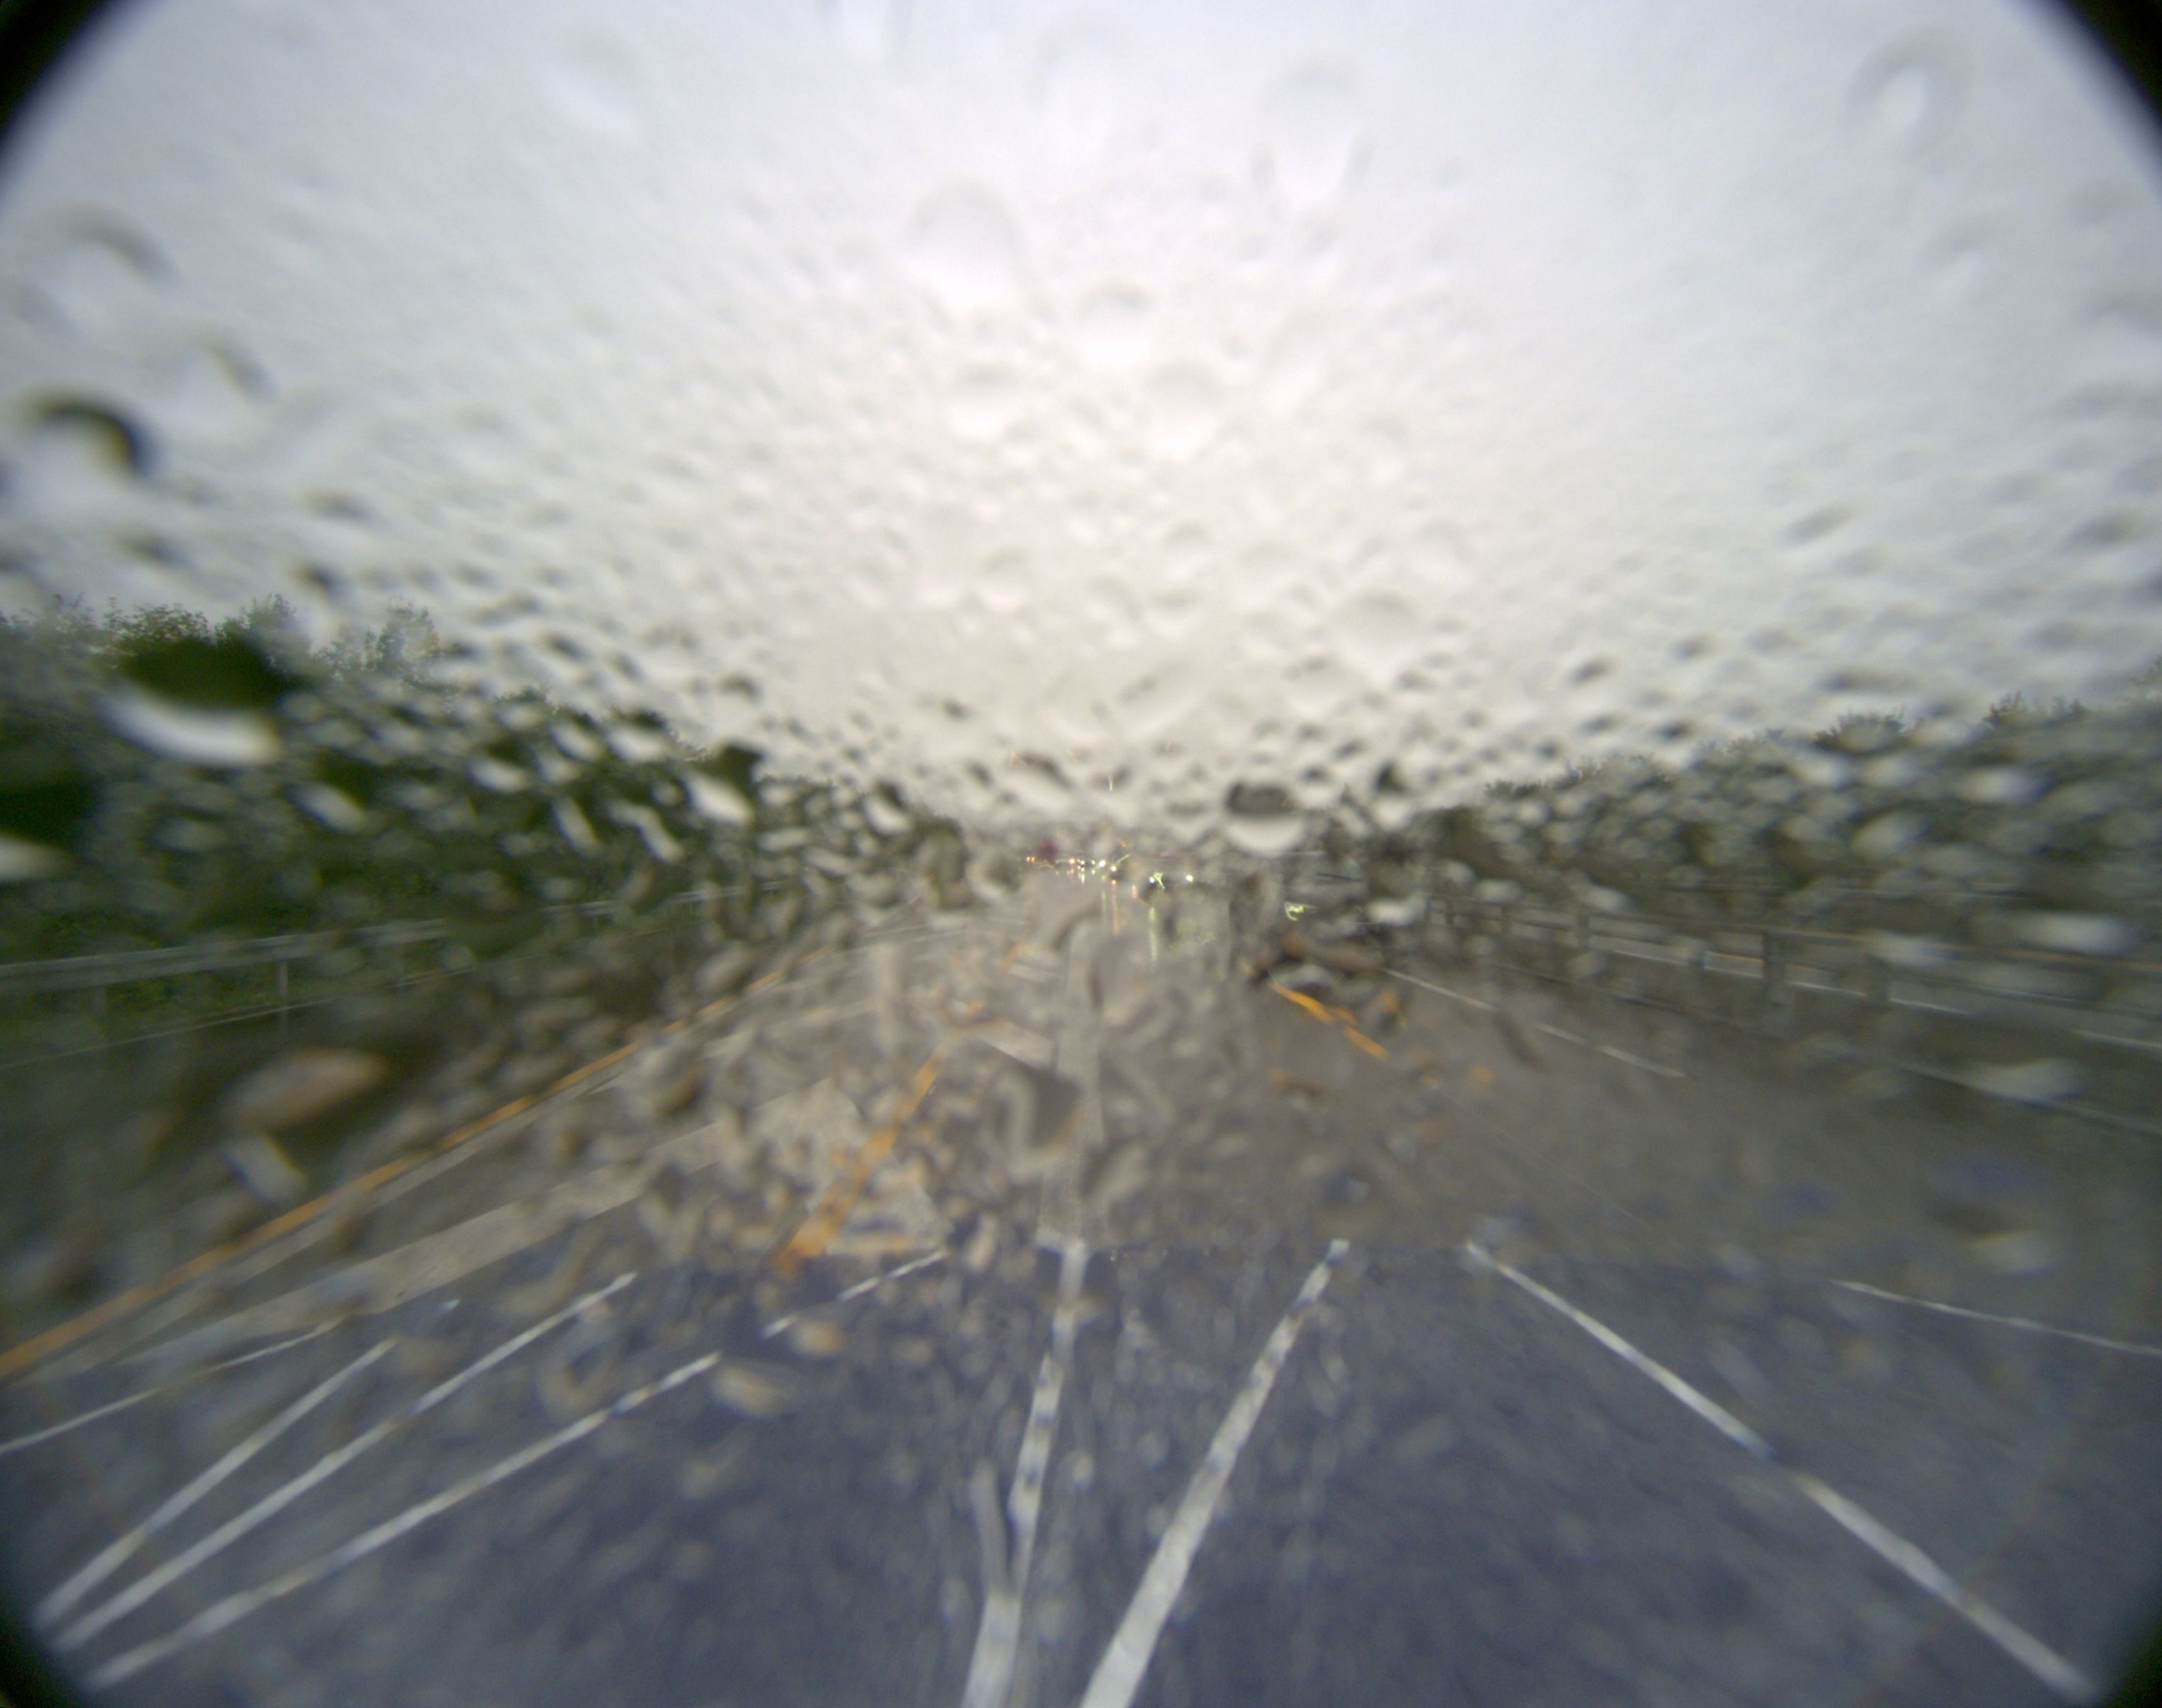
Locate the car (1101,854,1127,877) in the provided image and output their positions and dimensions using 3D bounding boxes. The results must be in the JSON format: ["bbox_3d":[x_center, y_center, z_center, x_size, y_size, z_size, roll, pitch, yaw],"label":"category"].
[{"bbox_3d":[3.138,1.092,72.838,2.211,2.002,5.563,-2,0,0],"label":"car"}]

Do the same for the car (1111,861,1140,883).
[{"bbox_3d":[3.248,1.317,56.371,1.978,1.586,4.310,-1,-1,1],"label":"car"}]

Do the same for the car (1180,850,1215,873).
[{"bbox_3d":[9.511,0.578,62.247,1.956,1.707,5.102,-2,0,-1],"label":"car"}]

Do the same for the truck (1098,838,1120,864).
[{"bbox_3d":[5.448,-0.619,150.992,3.283,4.808,15.983,-2,0,-1],"label":"truck"}]

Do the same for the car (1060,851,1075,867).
[{"bbox_3d":[-1.743,0.666,101.061,1.881,2.002,3.999,-2,0,-1],"label":"car"}]

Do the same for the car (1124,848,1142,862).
[{"bbox_3d":[7.009,0.143,103.258,1.897,1.796,5.054,-2,0,-2],"label":"car"}]

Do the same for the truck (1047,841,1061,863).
[{"bbox_3d":[-5.299,-0.444,149.200,2.484,4.060,8.703,-2,0,-1],"label":"truck"}]

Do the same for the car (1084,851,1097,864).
[{"bbox_3d":[1.306,0.516,109.589,1.695,1.739,3.999,-2,0,-1],"label":"car"}]

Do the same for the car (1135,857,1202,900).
[{"bbox_3d":[3.373,0.899,30.076,1.999,1.489,4.630,-2,0,-1],"label":"car"}]

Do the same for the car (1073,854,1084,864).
[{"bbox_3d":[-0.459,0.855,134.555,1.845,1.586,3.999,-2,0,-1],"label":"car"}]

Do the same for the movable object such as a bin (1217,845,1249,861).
[{"bbox_3d":[23.611,-0.187,118.199,3.448,2.281,5.098,-2,0,-7],"label":"movable object such as a bin"}]

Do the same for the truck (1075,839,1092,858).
[{"bbox_3d":[0.539,-1.337,205.140,3.283,4.808,15.979,-2,0,-4],"label":"truck"}]

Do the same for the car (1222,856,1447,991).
[{"bbox_3d":[3.518,0.859,11.534,1.998,1.576,4.413,-2,0,1],"label":"car"}]

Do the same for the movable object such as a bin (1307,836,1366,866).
[{"bbox_3d":[25.679,-0.298,76.839,3.774,2.782,6.329,-2,0,0],"label":"movable object such as a bin"}]
